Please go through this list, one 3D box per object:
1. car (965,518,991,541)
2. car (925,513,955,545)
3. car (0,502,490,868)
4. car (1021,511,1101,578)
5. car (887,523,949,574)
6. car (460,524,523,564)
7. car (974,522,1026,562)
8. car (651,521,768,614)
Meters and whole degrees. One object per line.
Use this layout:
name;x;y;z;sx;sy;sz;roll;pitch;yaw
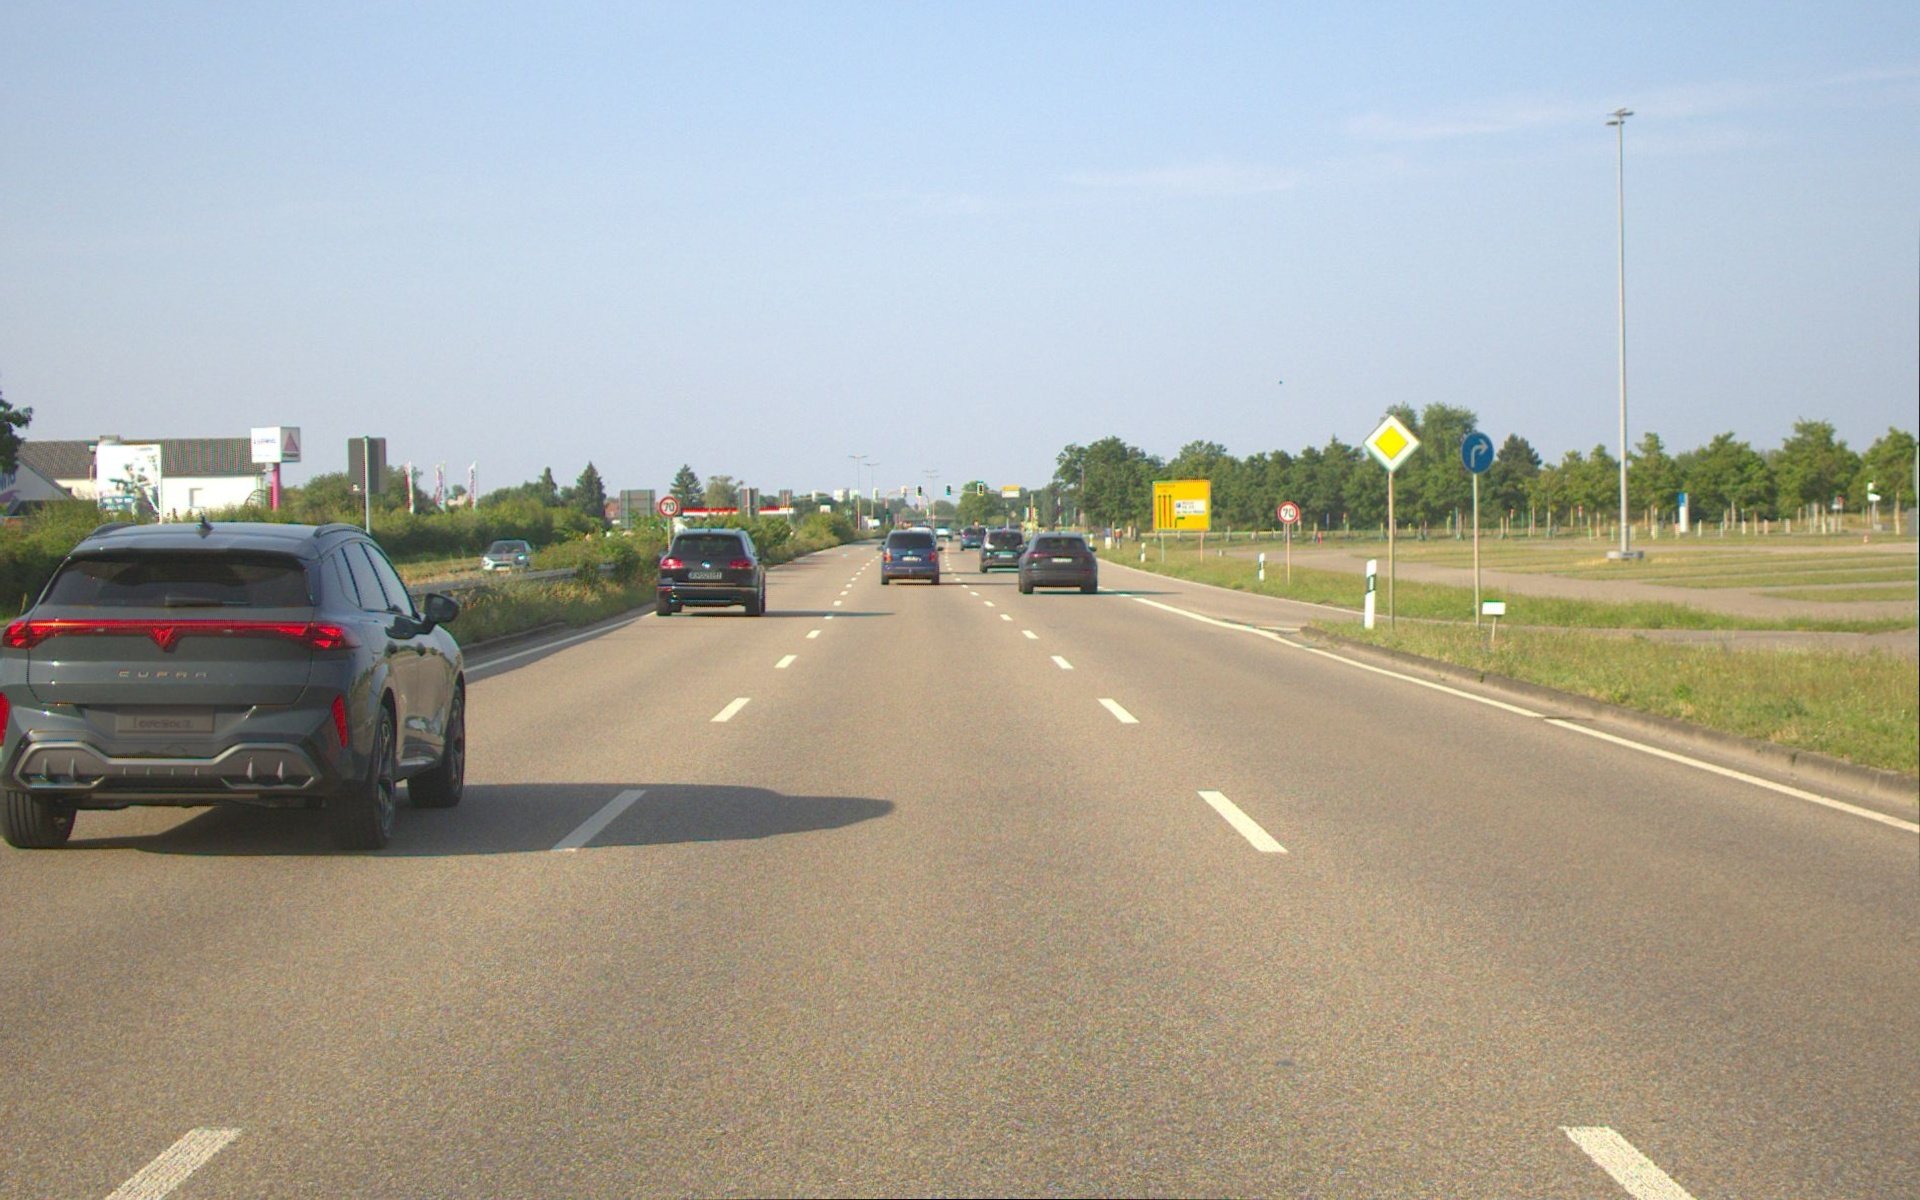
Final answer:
car;1.052;-4.226;204.803;1.503;1.309;3.156;2;1;0
car;-1.103;-3.919;189.596;1.645;1.722;3.401;1;1;-1
car;-3.660;0.330;17.744;1.845;1.606;4.401;2;1;0
car;2.652;-1.496;91.090;1.932;1.674;4.401;2;1;0
car;-1.275;-1.586;105.019;1.813;1.458;4.401;2;1;0
car;-17.342;-2.087;127.378;1.779;1.419;4.000;-1;1;0
car;1.494;-2.217;130.552;1.873;1.458;3.981;2;1;0
car;-4.816;-0.657;66.564;1.932;1.674;4.401;2;1;0
